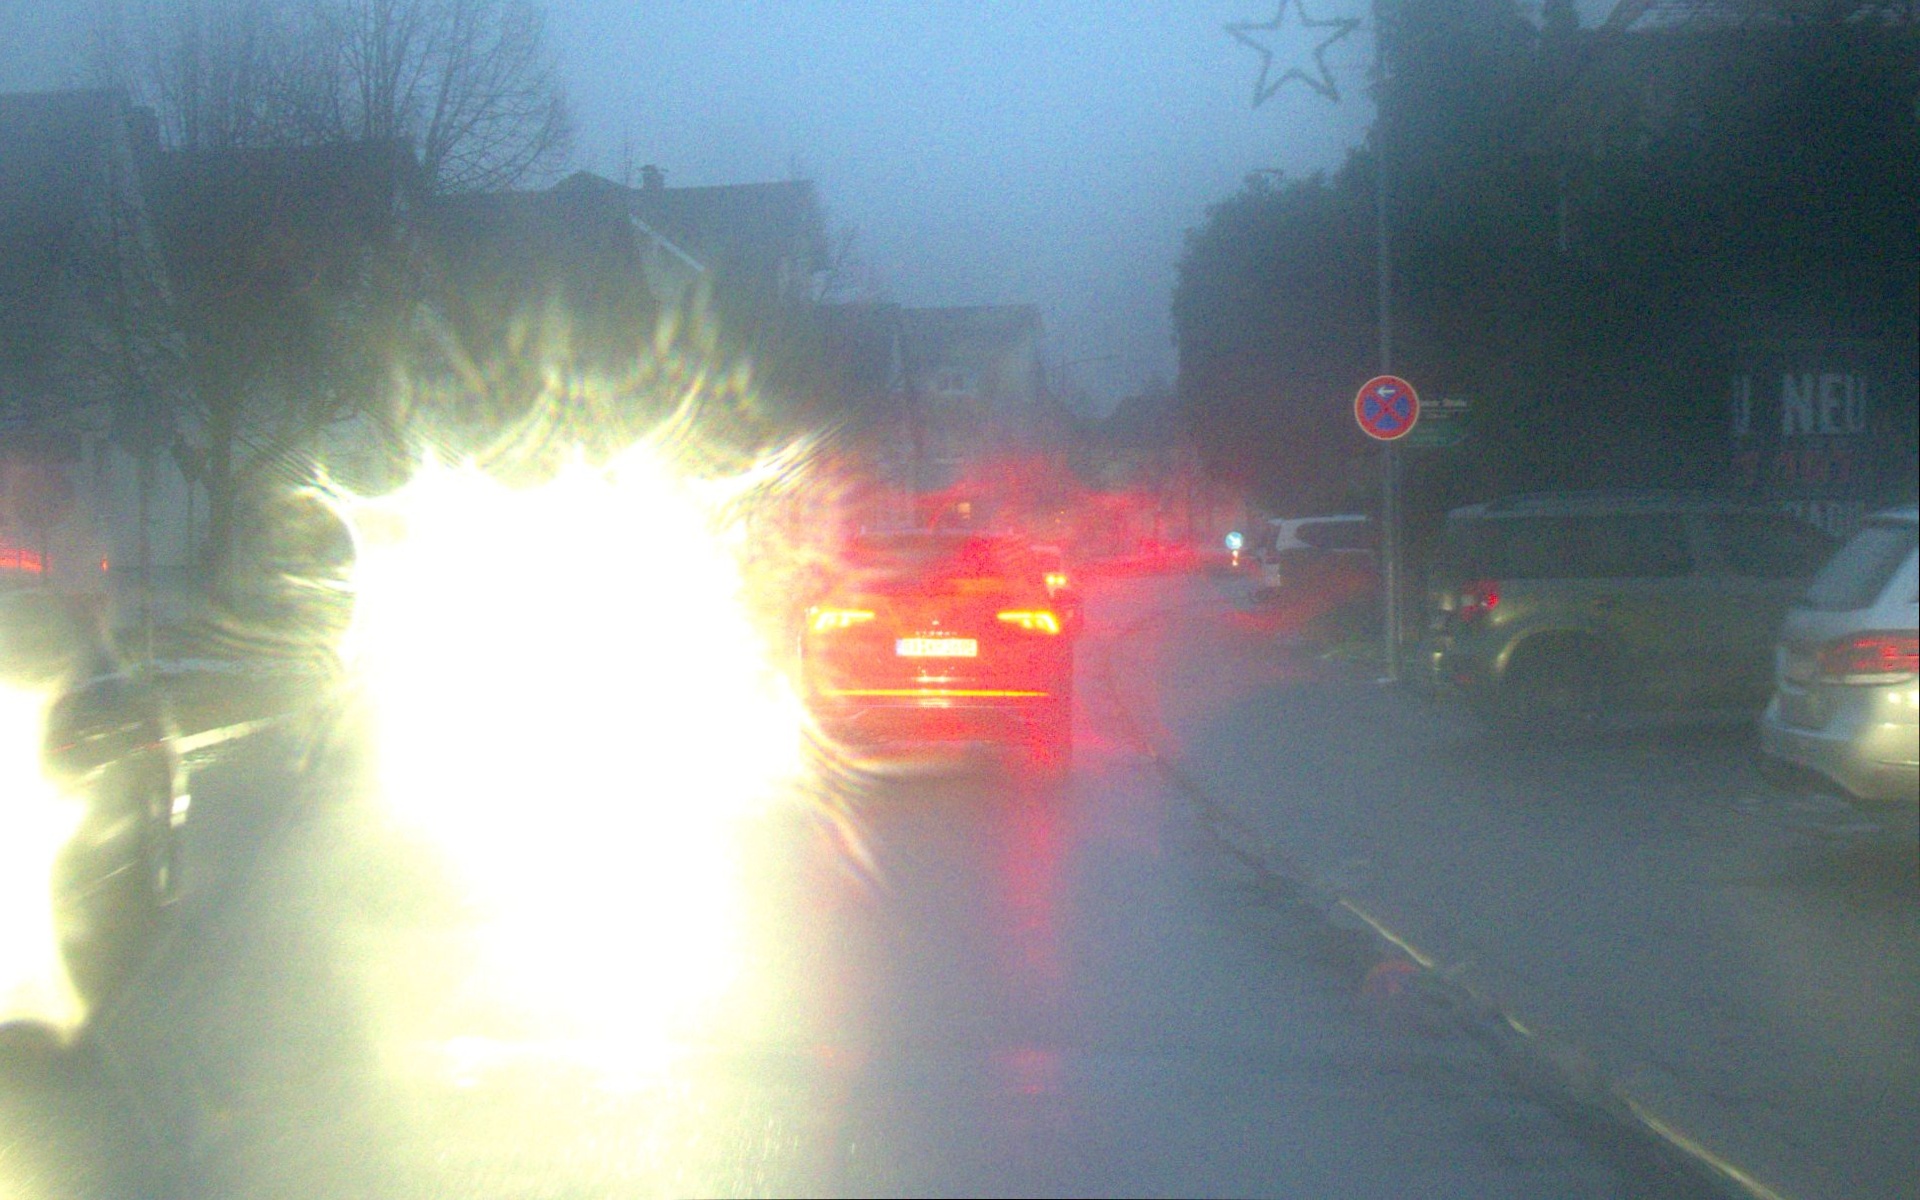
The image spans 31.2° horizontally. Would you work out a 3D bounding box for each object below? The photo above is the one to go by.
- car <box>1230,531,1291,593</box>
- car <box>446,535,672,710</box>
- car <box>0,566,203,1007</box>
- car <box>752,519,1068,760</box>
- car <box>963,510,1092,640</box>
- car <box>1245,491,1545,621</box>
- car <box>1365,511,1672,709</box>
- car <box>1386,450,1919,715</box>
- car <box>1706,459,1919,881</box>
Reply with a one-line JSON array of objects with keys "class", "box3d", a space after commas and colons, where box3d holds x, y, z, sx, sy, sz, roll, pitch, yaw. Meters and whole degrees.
[{"class": "car", "box3d": [10.298, -1.331, 117.998, 1.994, 2.007, 4.000, -1, 1, 4]}, {"class": "car", "box3d": [-4.076, 0.179, 35.534, 1.814, 1.627, 4.225, -2, 1, -1]}, {"class": "car", "box3d": [-4.074, 0.648, 12.412, 1.704, 1.436, 4.425, -3, 1, -1]}, {"class": "car", "box3d": [-0.365, 0.209, 23.761, 1.993, 1.520, 4.000, 0, 1, -1]}, {"class": "car", "box3d": [1.123, -0.411, 55.276, 1.993, 2.007, 4.000, 0, 1, 2]}, {"class": "car", "box3d": [6.691, -0.691, 53.207, 4.322, 1.726, 2.000, -3, 1, 1]}, {"class": "car", "box3d": [4.717, 0.028, 29.678, 1.893, 1.549, 4.756, -1, 1, 0]}, {"class": "car", "box3d": [5.085, -0.123, 23.352, 4.101, 1.700, 2.000, 0, 0, 0]}, {"class": "car", "box3d": [5.630, 0.170, 14.160, 4.734, 1.624, 1.907, -2, 1, 5]}]
